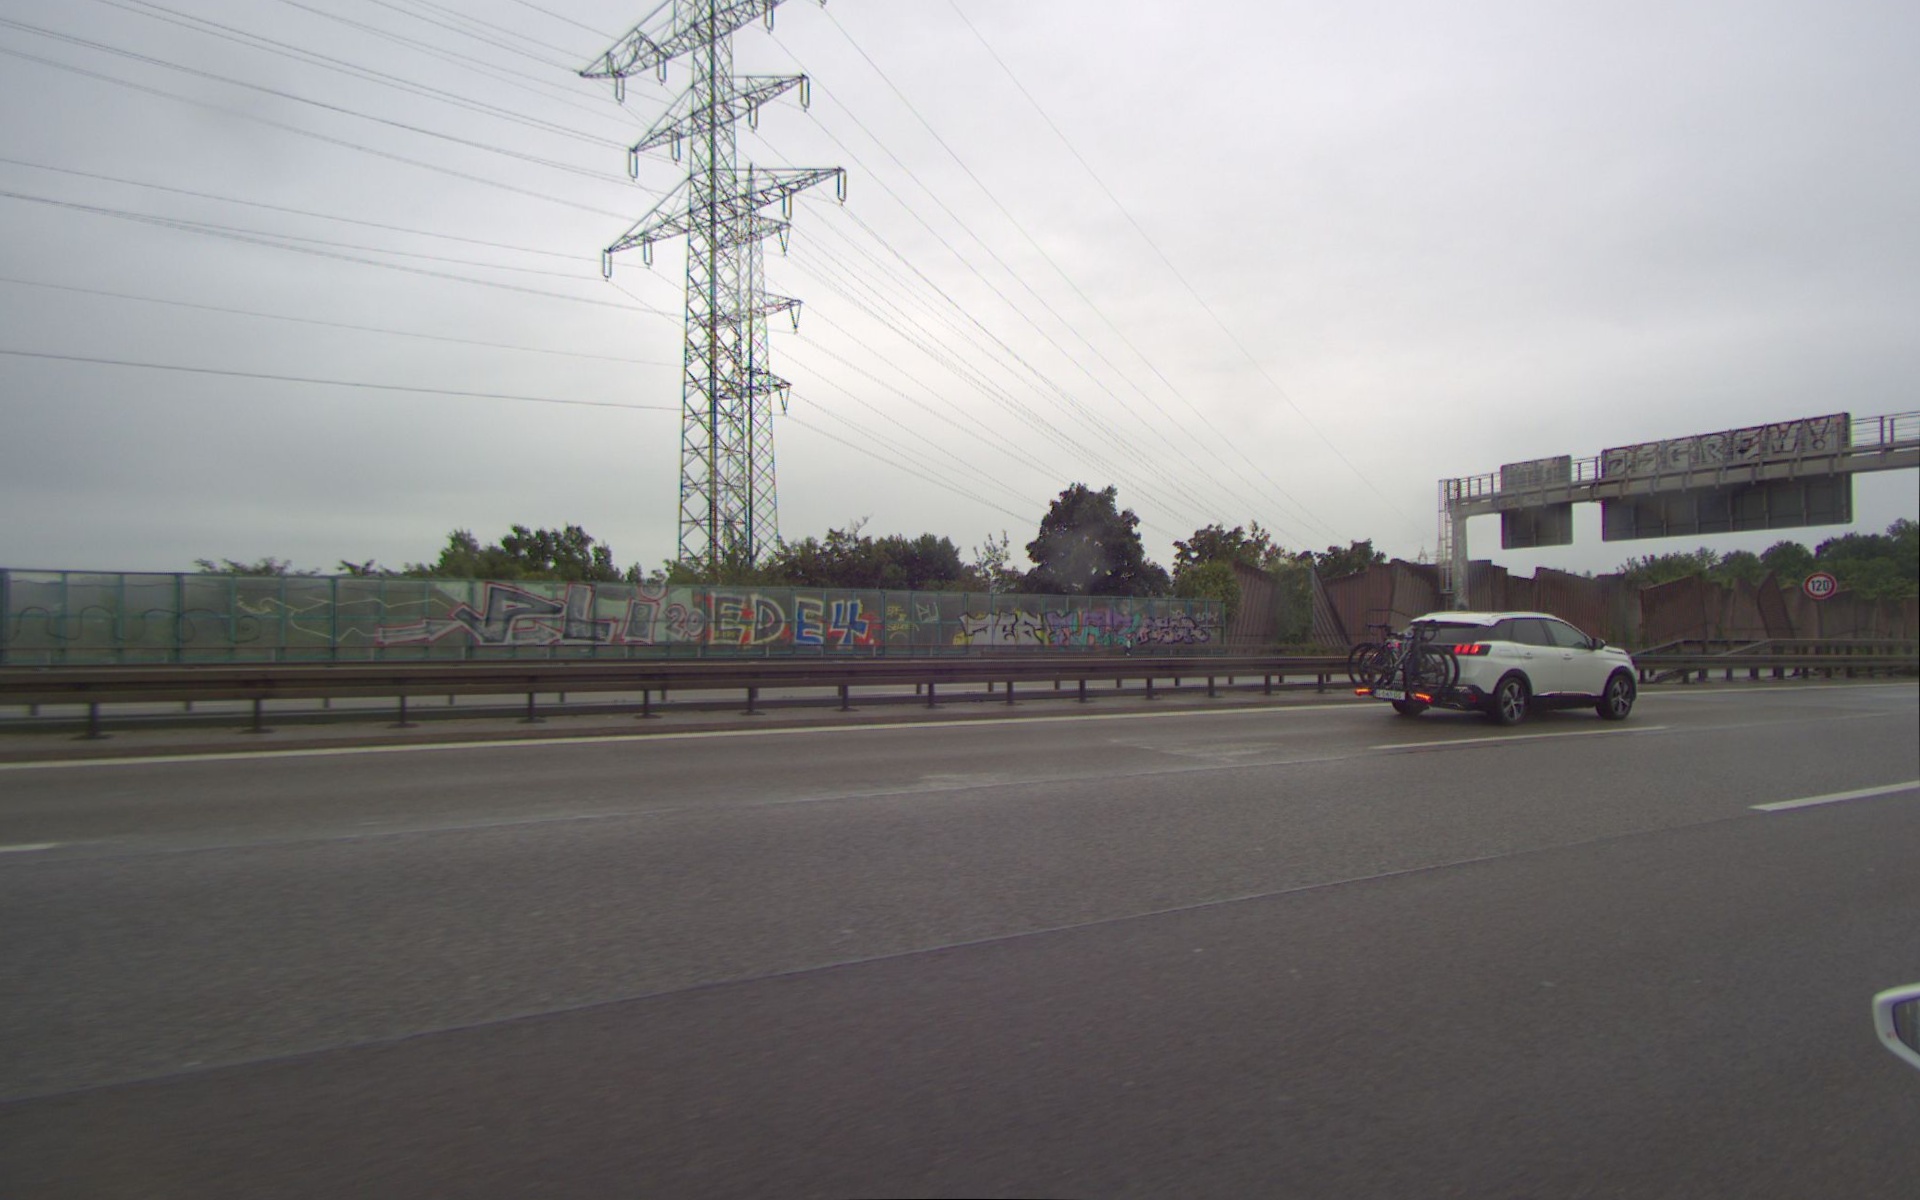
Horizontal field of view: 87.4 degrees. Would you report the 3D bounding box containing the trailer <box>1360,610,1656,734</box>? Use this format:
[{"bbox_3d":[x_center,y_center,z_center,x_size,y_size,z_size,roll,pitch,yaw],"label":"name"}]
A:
[{"bbox_3d":[8.354,1.009,15.243,4.512,1.646,1.807,1,-1,-29],"label":"trailer"}]
